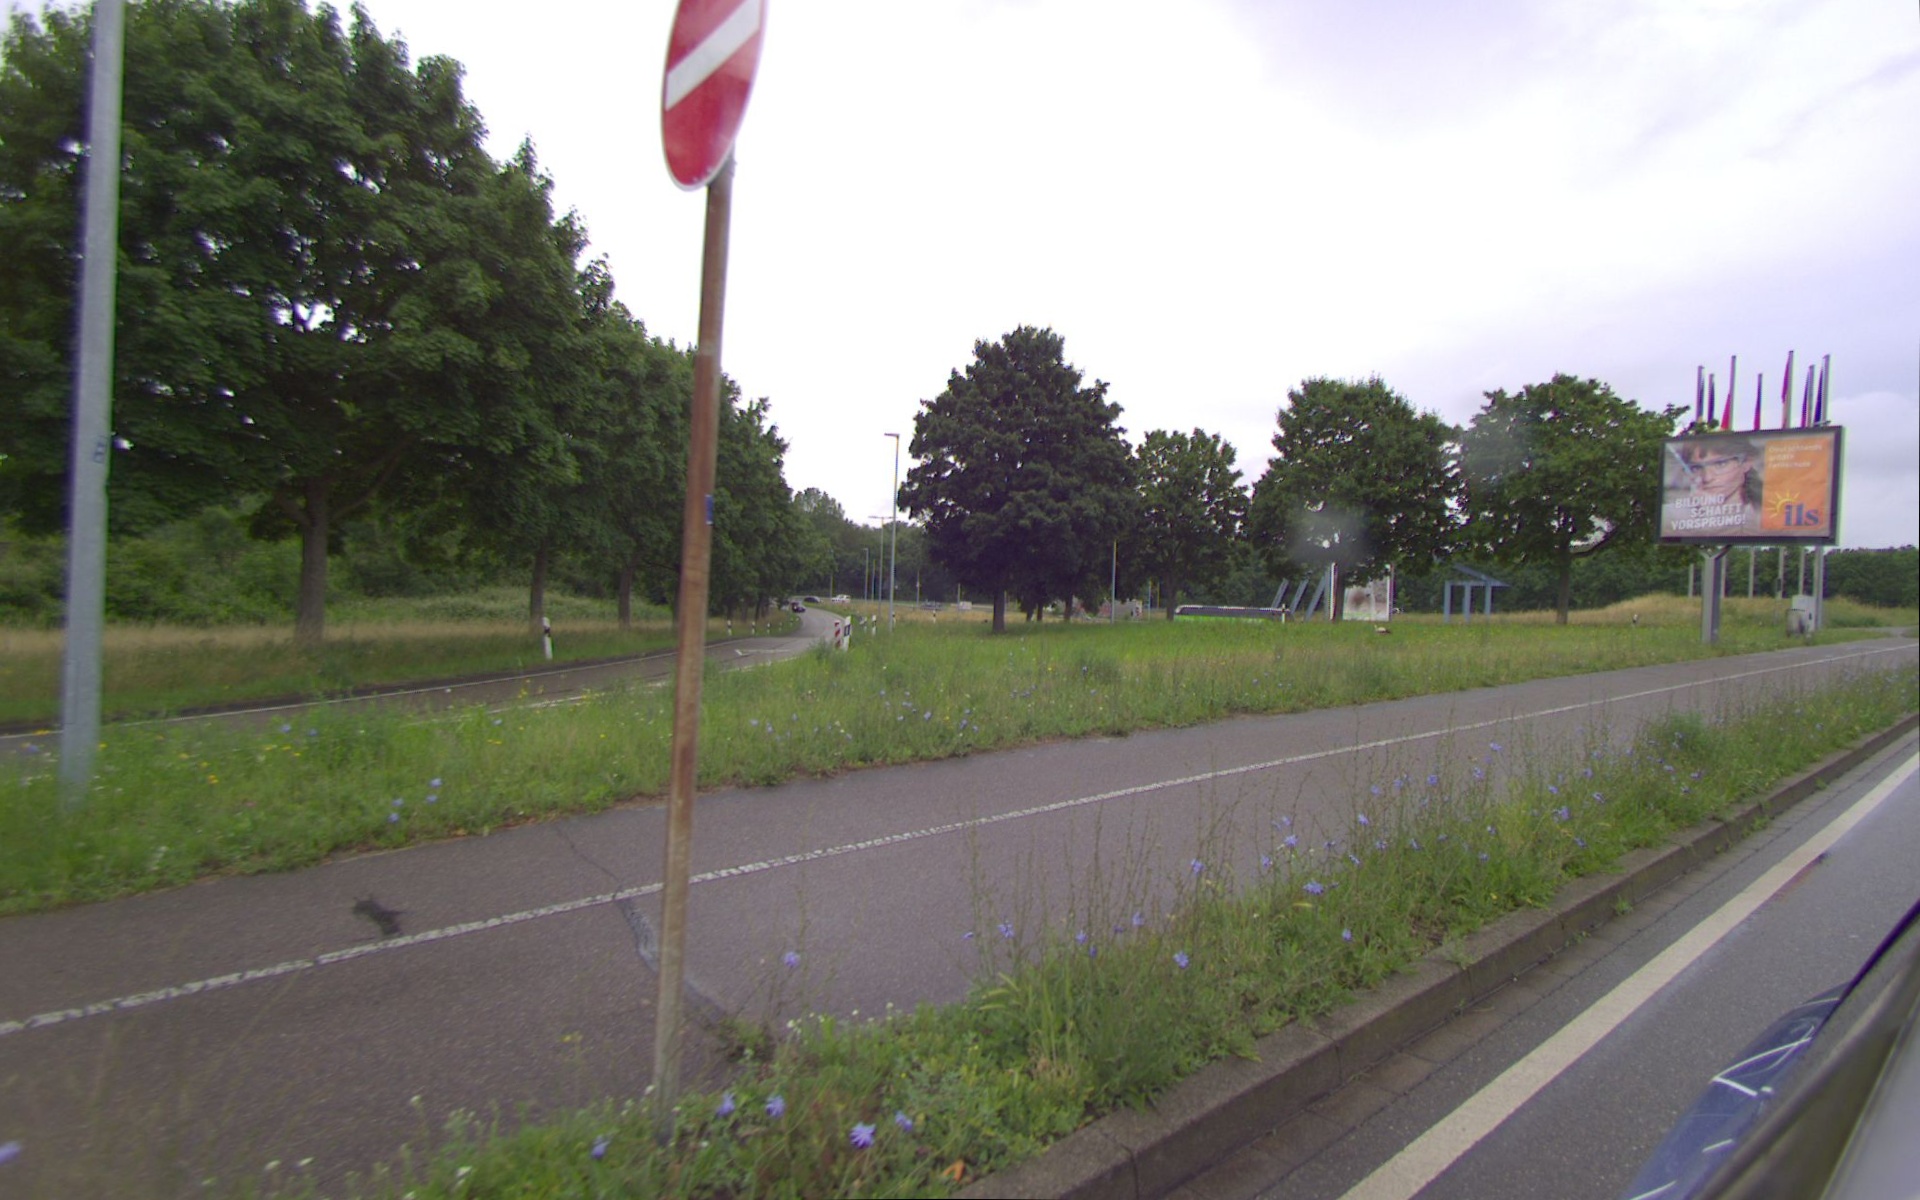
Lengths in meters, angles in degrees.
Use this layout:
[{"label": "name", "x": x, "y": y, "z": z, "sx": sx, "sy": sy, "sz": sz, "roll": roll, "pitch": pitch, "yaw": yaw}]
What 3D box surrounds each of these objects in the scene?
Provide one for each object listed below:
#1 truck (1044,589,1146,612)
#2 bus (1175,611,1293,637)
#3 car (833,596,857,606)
[{"label": "truck", "x": 21.109, "y": -0.016, "z": 159.004, "sx": 16.128, "sy": 3.433, "sz": 2.720, "roll": 1, "pitch": 0, "yaw": 30}, {"label": "bus", "x": 32.656, "y": 2.815, "z": 120.333, "sx": 14.284, "sy": 2.713, "sz": 2.769, "roll": -1, "pitch": 1, "yaw": -18}, {"label": "car", "x": -21.149, "y": 0.174, "z": 185.979, "sx": 3.966, "sy": 1.854, "sz": 1.821, "roll": 1, "pitch": 0, "yaw": 30}]
